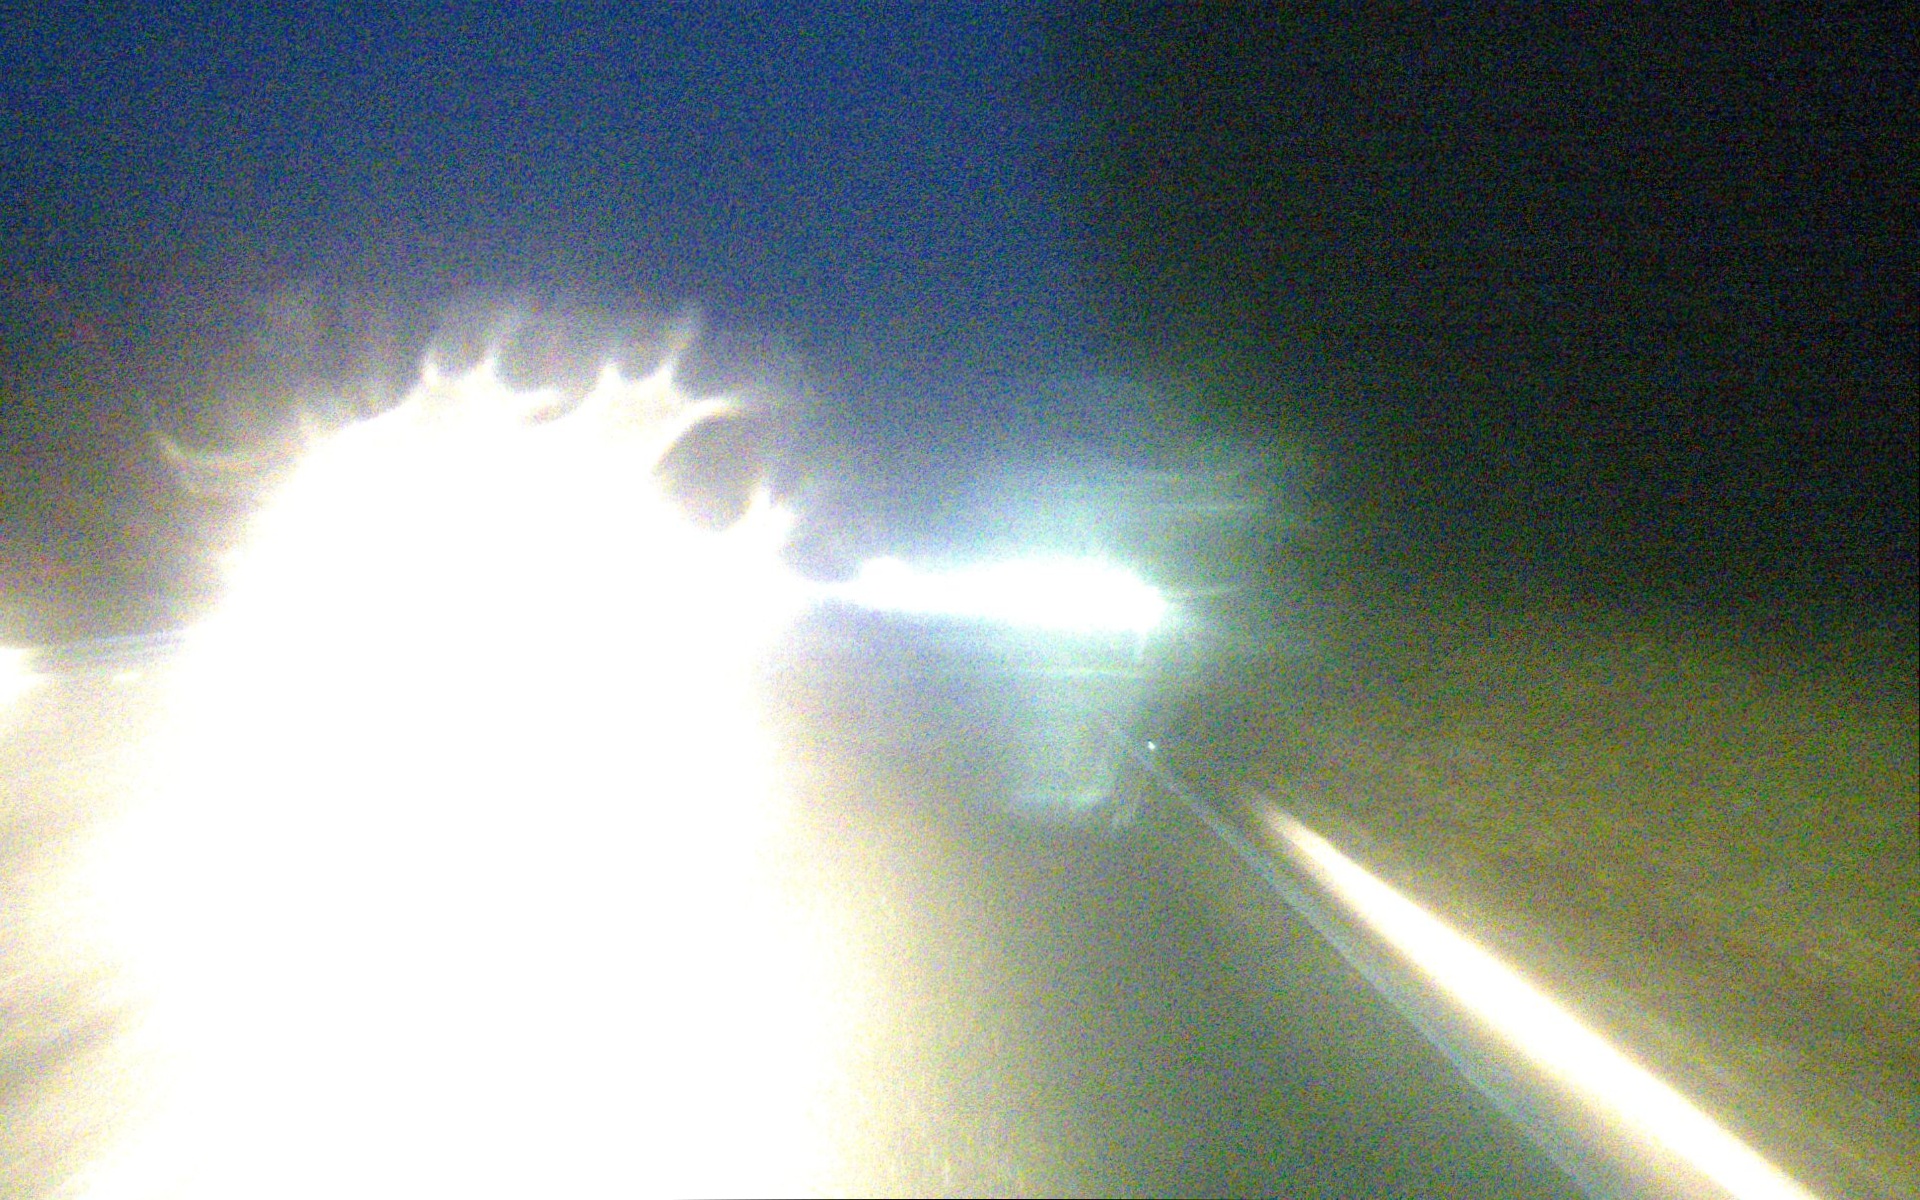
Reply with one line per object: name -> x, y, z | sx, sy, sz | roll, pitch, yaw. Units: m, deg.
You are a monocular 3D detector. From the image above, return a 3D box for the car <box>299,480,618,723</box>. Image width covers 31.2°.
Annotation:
car -> -4.012, -0.031, 28.218 | 1.993, 1.818, 4.563 | 0, 1, -1
